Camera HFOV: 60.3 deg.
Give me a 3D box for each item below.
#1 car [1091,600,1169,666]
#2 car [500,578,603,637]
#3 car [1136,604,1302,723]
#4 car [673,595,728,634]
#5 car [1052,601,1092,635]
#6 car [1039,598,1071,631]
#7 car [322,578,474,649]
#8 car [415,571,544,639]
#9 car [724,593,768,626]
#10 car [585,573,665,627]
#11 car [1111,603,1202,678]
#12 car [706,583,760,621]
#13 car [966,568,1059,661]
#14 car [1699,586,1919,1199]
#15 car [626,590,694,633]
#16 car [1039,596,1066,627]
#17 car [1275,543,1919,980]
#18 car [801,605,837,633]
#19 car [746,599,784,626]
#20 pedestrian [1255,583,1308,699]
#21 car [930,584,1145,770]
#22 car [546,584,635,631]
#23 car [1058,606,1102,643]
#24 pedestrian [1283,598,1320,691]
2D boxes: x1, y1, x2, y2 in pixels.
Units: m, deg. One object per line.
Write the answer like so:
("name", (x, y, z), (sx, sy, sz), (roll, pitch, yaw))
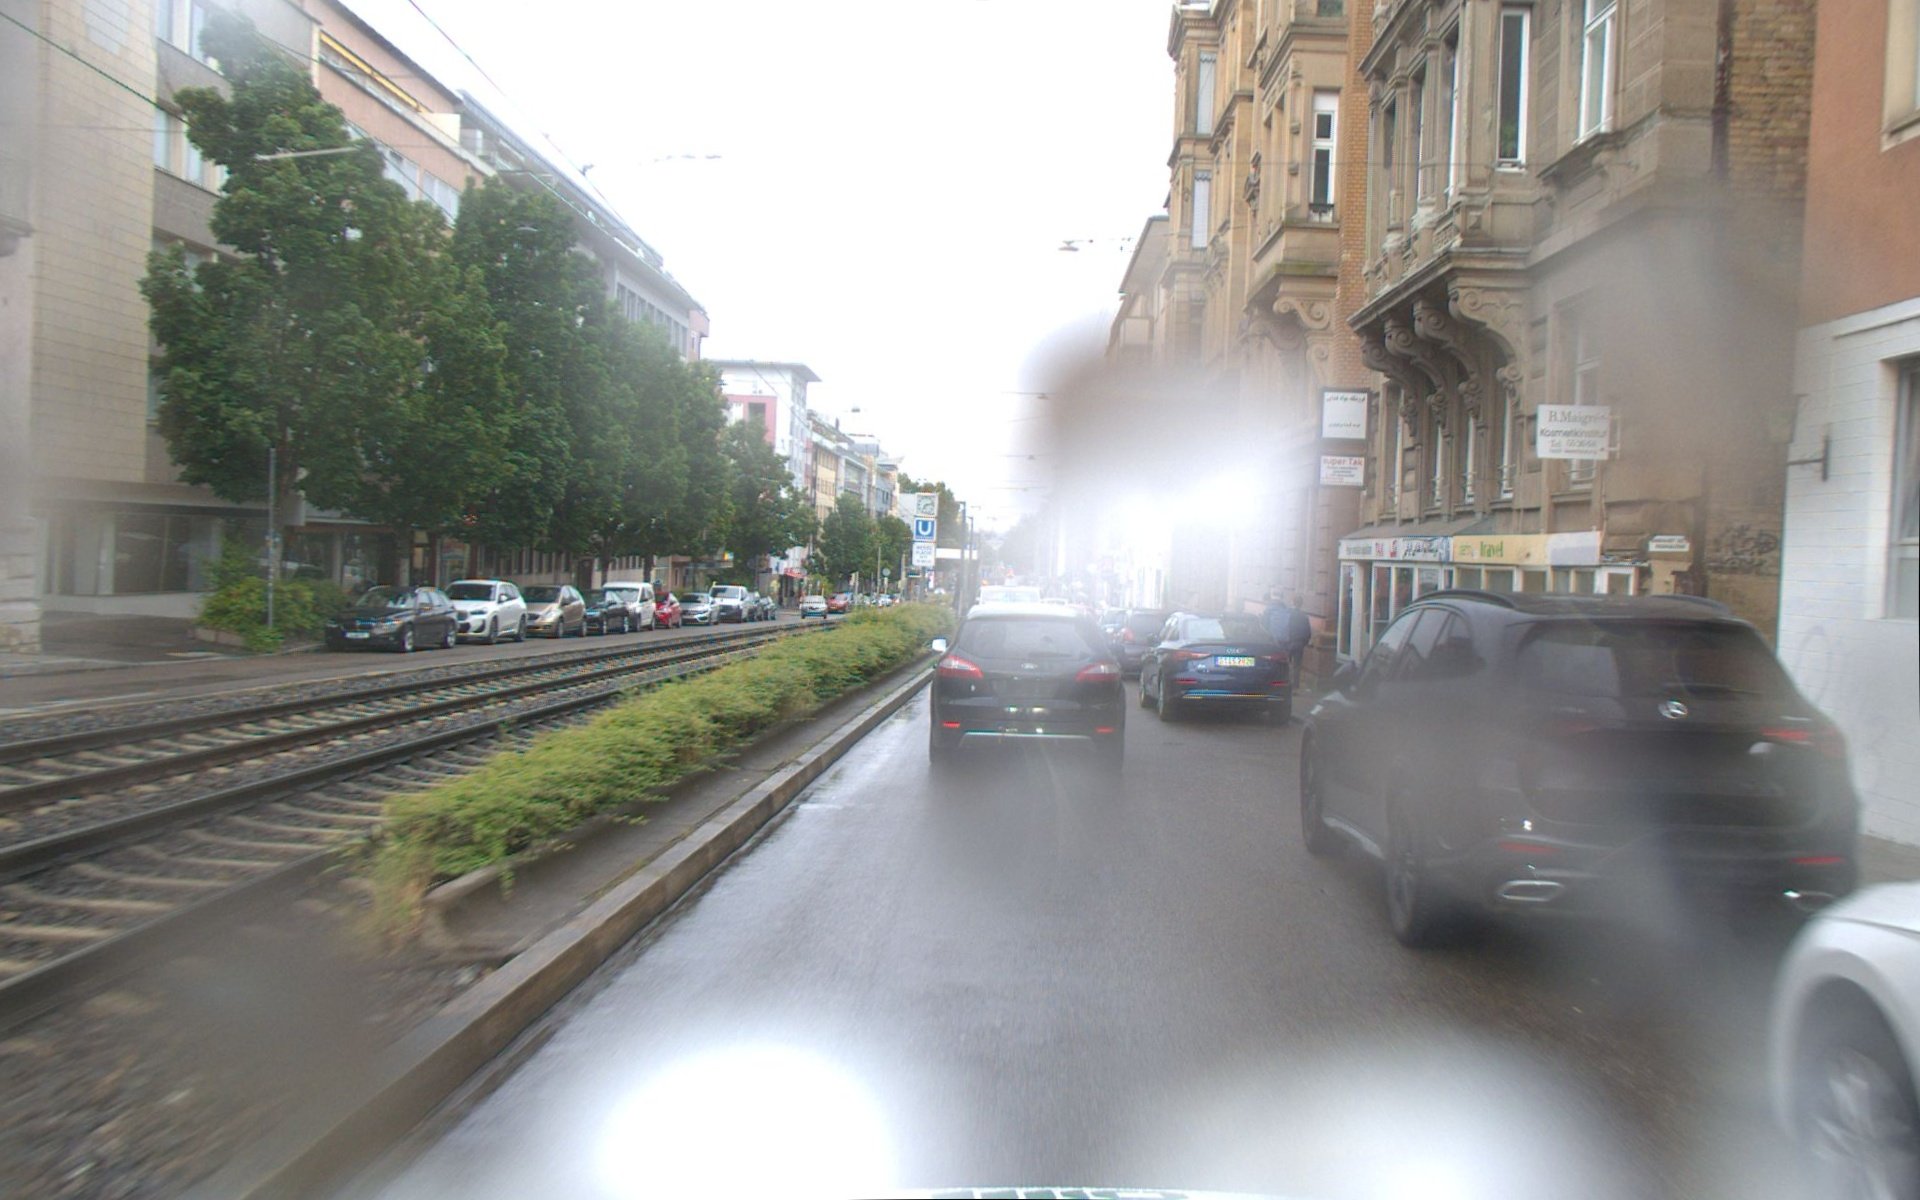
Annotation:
("car", (4.166, 0.800, 40.941), (1.545, 1.485, 3.821), (2, -1, 1))
("car", (-12.386, 0.273, 50.419), (1.817, 1.576, 4.432), (3, -2, 2))
("car", (3.523, 0.868, 23.189), (1.754, 1.431, 4.257), (3, -1, 2))
("car", (-11.648, 0.657, 74.440), (1.633, 1.585, 4.046), (3, -2, 2))
("car", (5.095, 0.825, 75.256), (1.636, 1.446, 3.476), (2, -1, 1))
("car", (5.802, 0.917, 101.308), (1.801, 1.812, 3.779), (5, -2, 2))
("car", (-12.785, 0.356, 37.953), (1.658, 1.402, 4.721), (3, -2, 2))
("car", (-12.715, 0.184, 44.089), (1.817, 1.576, 4.721), (3, -2, 2))
("car", (-11.652, 0.552, 90.309), (1.660, 1.601, 4.046), (3, -2, 2))
("car", (-12.338, 0.035, 61.170), (1.817, 1.731, 4.432), (3, -2, 2))
("car", (4.157, 0.845, 35.349), (1.615, 1.485, 3.477), (2, -1, 2))
("car", (-11.475, 0.138, 83.787), (1.817, 1.665, 4.936), (3, -2, 2))
("car", (1.354, 0.340, 40.900), (1.946, 2.096, 4.648), (2, 0, 5))
("car", (2.906, 0.701, 2.389), (1.764, 1.481, 4.587), (1, -2, 2))
("car", (-12.171, 0.477, 67.356), (1.817, 1.553, 4.046), (3, -2, 2))
("car", (5.984, 0.757, 107.269), (1.559, 1.812, 3.779), (4, -2, 2))
("car", (2.990, 0.703, 8.922), (1.807, 1.661, 4.587), (2, -1, 2))
("car", (-9.376, 1.263, 109.987), (1.817, 1.665, 4.046), (3, -2, 2))
("car", (-11.328, 0.744, 96.064), (1.518, 1.419, 4.046), (3, -2, 2))
("pedestrian", (5.227, 0.647, 26.928), (0.688, 1.851, 0.961), (0, 1, 2))
("car", (0.654, 0.688, 16.119), (1.805, 1.533, 3.999), (2, -1, 0))
("car", (-12.311, 0.291, 55.320), (1.817, 1.443, 4.432), (0, -2, 2))
("car", (4.973, 0.999, 68.689), (1.636, 1.446, 3.476), (2, -1, 1))
("pedestrian", (5.986, 0.789, 28.971), (0.508, 1.607, 0.677), (0, -2, 2))
